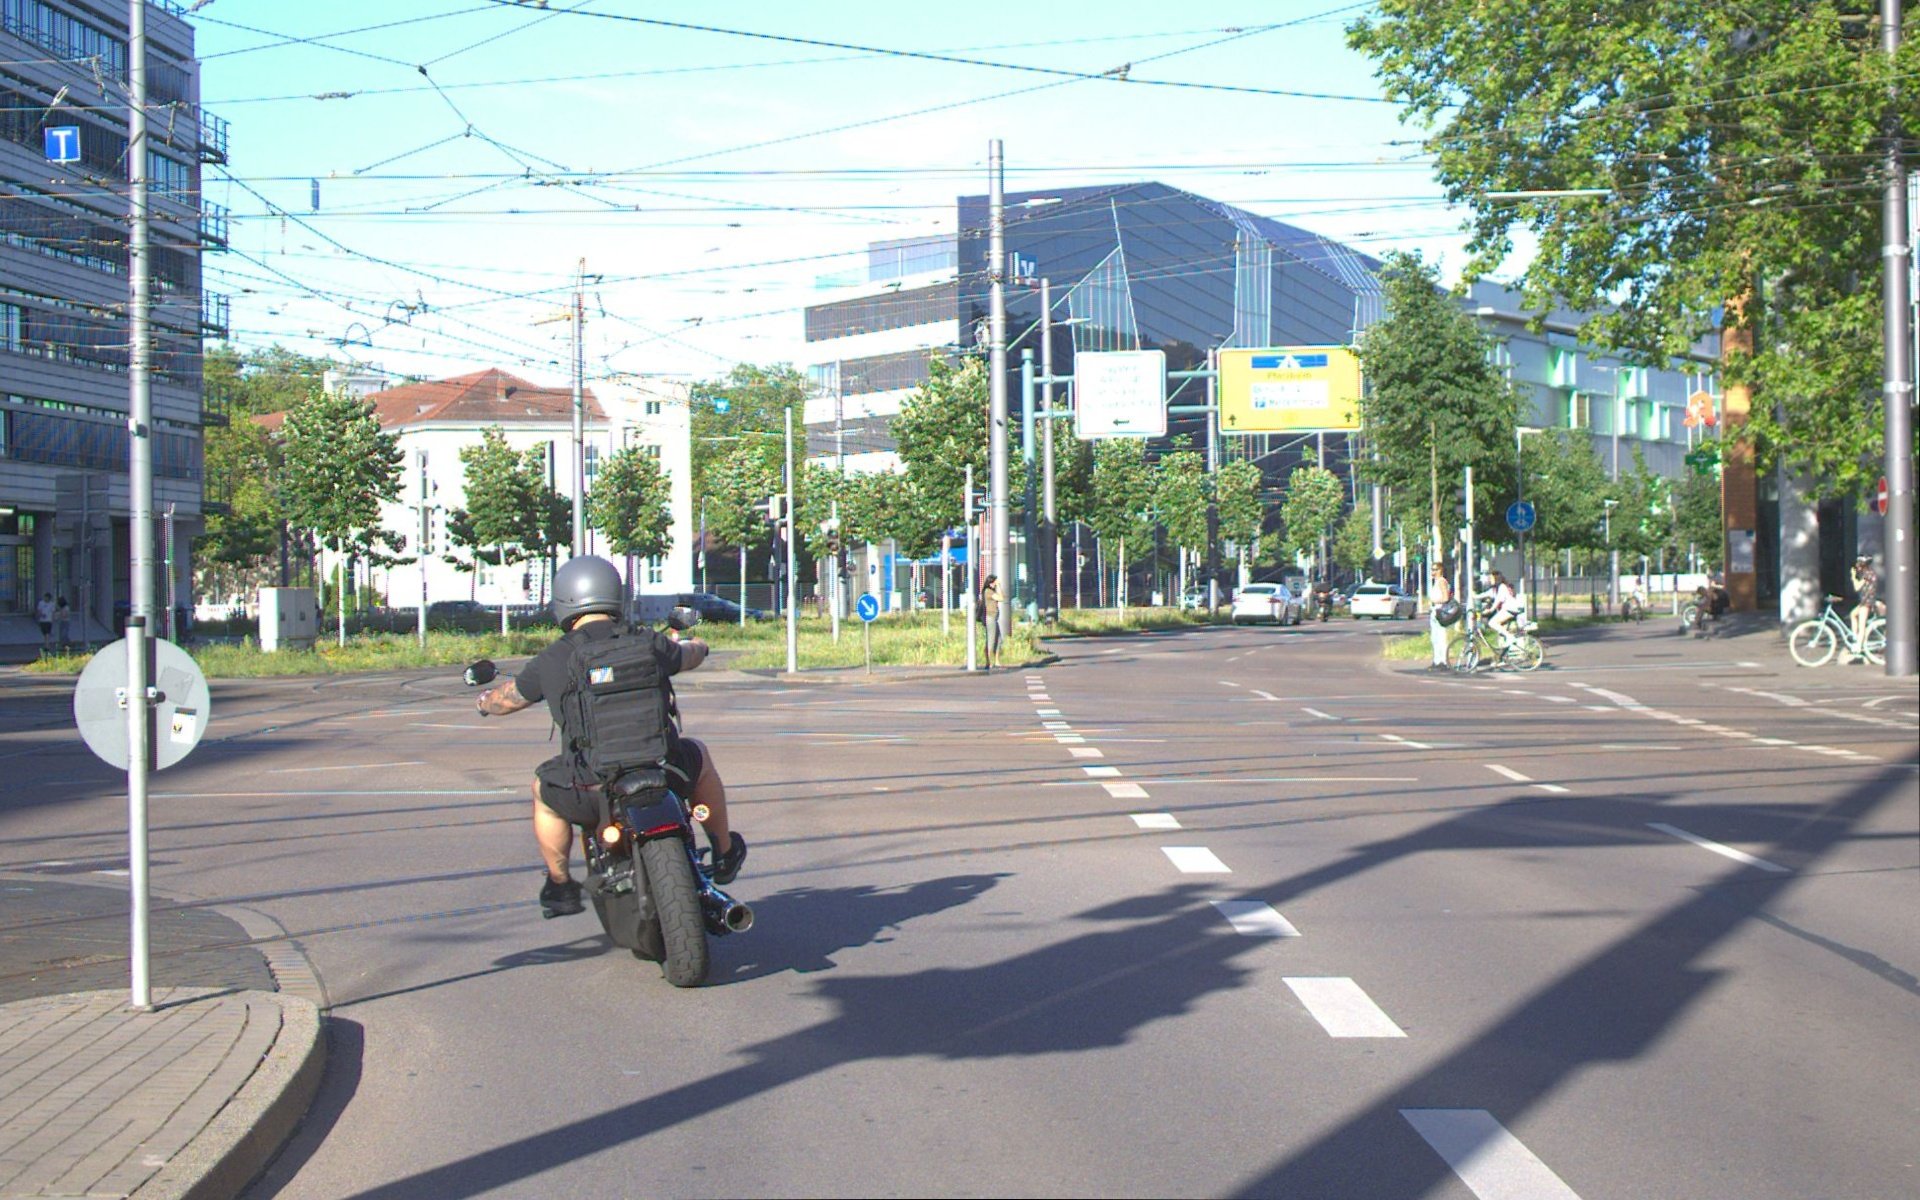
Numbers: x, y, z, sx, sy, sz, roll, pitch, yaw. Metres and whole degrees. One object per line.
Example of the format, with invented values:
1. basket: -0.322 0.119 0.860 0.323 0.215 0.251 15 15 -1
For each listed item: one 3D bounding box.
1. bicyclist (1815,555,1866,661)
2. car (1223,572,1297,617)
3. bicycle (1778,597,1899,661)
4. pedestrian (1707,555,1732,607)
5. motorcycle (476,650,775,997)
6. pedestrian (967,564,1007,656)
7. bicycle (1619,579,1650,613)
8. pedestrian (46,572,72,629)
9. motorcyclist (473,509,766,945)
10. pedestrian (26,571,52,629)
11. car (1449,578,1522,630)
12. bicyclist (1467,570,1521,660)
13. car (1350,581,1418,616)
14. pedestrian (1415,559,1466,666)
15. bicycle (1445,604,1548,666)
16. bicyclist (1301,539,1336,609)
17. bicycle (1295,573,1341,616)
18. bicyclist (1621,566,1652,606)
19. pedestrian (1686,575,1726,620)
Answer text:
1. bicyclist: 14.266 0.130 55.723 0.743 1.689 0.570 -1 0 11
2. car: 10.290 -0.170 117.746 1.903 1.503 3.997 1 0 14
3. bicycle: 14.236 0.469 55.721 1.853 1.018 0.516 -1 0 11
4. pedestrian: 23.020 -0.571 104.172 0.706 1.564 0.622 -1 1 12
5. motorcycle: -1.294 0.784 12.927 1.005 1.121 2.323 1 1 -7
6. pedestrian: 0.471 0.170 59.243 0.657 1.577 0.489 0 1 3
7. bicycle: 23.265 -0.143 118.542 1.040 1.129 3.179 0 1 11
8. pedestrian: -27.300 0.007 104.146 0.548 1.727 0.641 -1 1 5
9. motorcyclist: -1.295 0.450 12.903 1.022 1.547 1.287 1 0 -7
10. pedestrian: -27.914 -0.001 104.213 0.548 1.727 0.641 -1 1 5
11. car: 19.496 0.146 127.409 2.055 1.867 4.223 1 0 17
12. bicyclist: 8.964 0.257 57.724 0.743 1.498 0.569 -1 0 24
13. car: 17.057 -0.073 138.222 2.017 1.371 4.035 0 1 17
14. pedestrian: 8.348 0.215 59.713 0.701 1.830 0.514 1 0 35
15. bicycle: 9.003 0.591 57.706 1.629 1.018 0.516 -1 0 24
16. bicyclist: 13.425 -0.973 128.594 1.017 2.615 1.470 0 0 17
17. bicycle: 13.411 -0.210 128.643 1.017 1.574 3.571 0 1 17
18. bicyclist: 23.257 -0.492 118.218 1.040 1.376 1.563 0 0 11
19. pedestrian: 17.616 -0.062 81.135 0.785 1.053 0.813 -1 1 22
